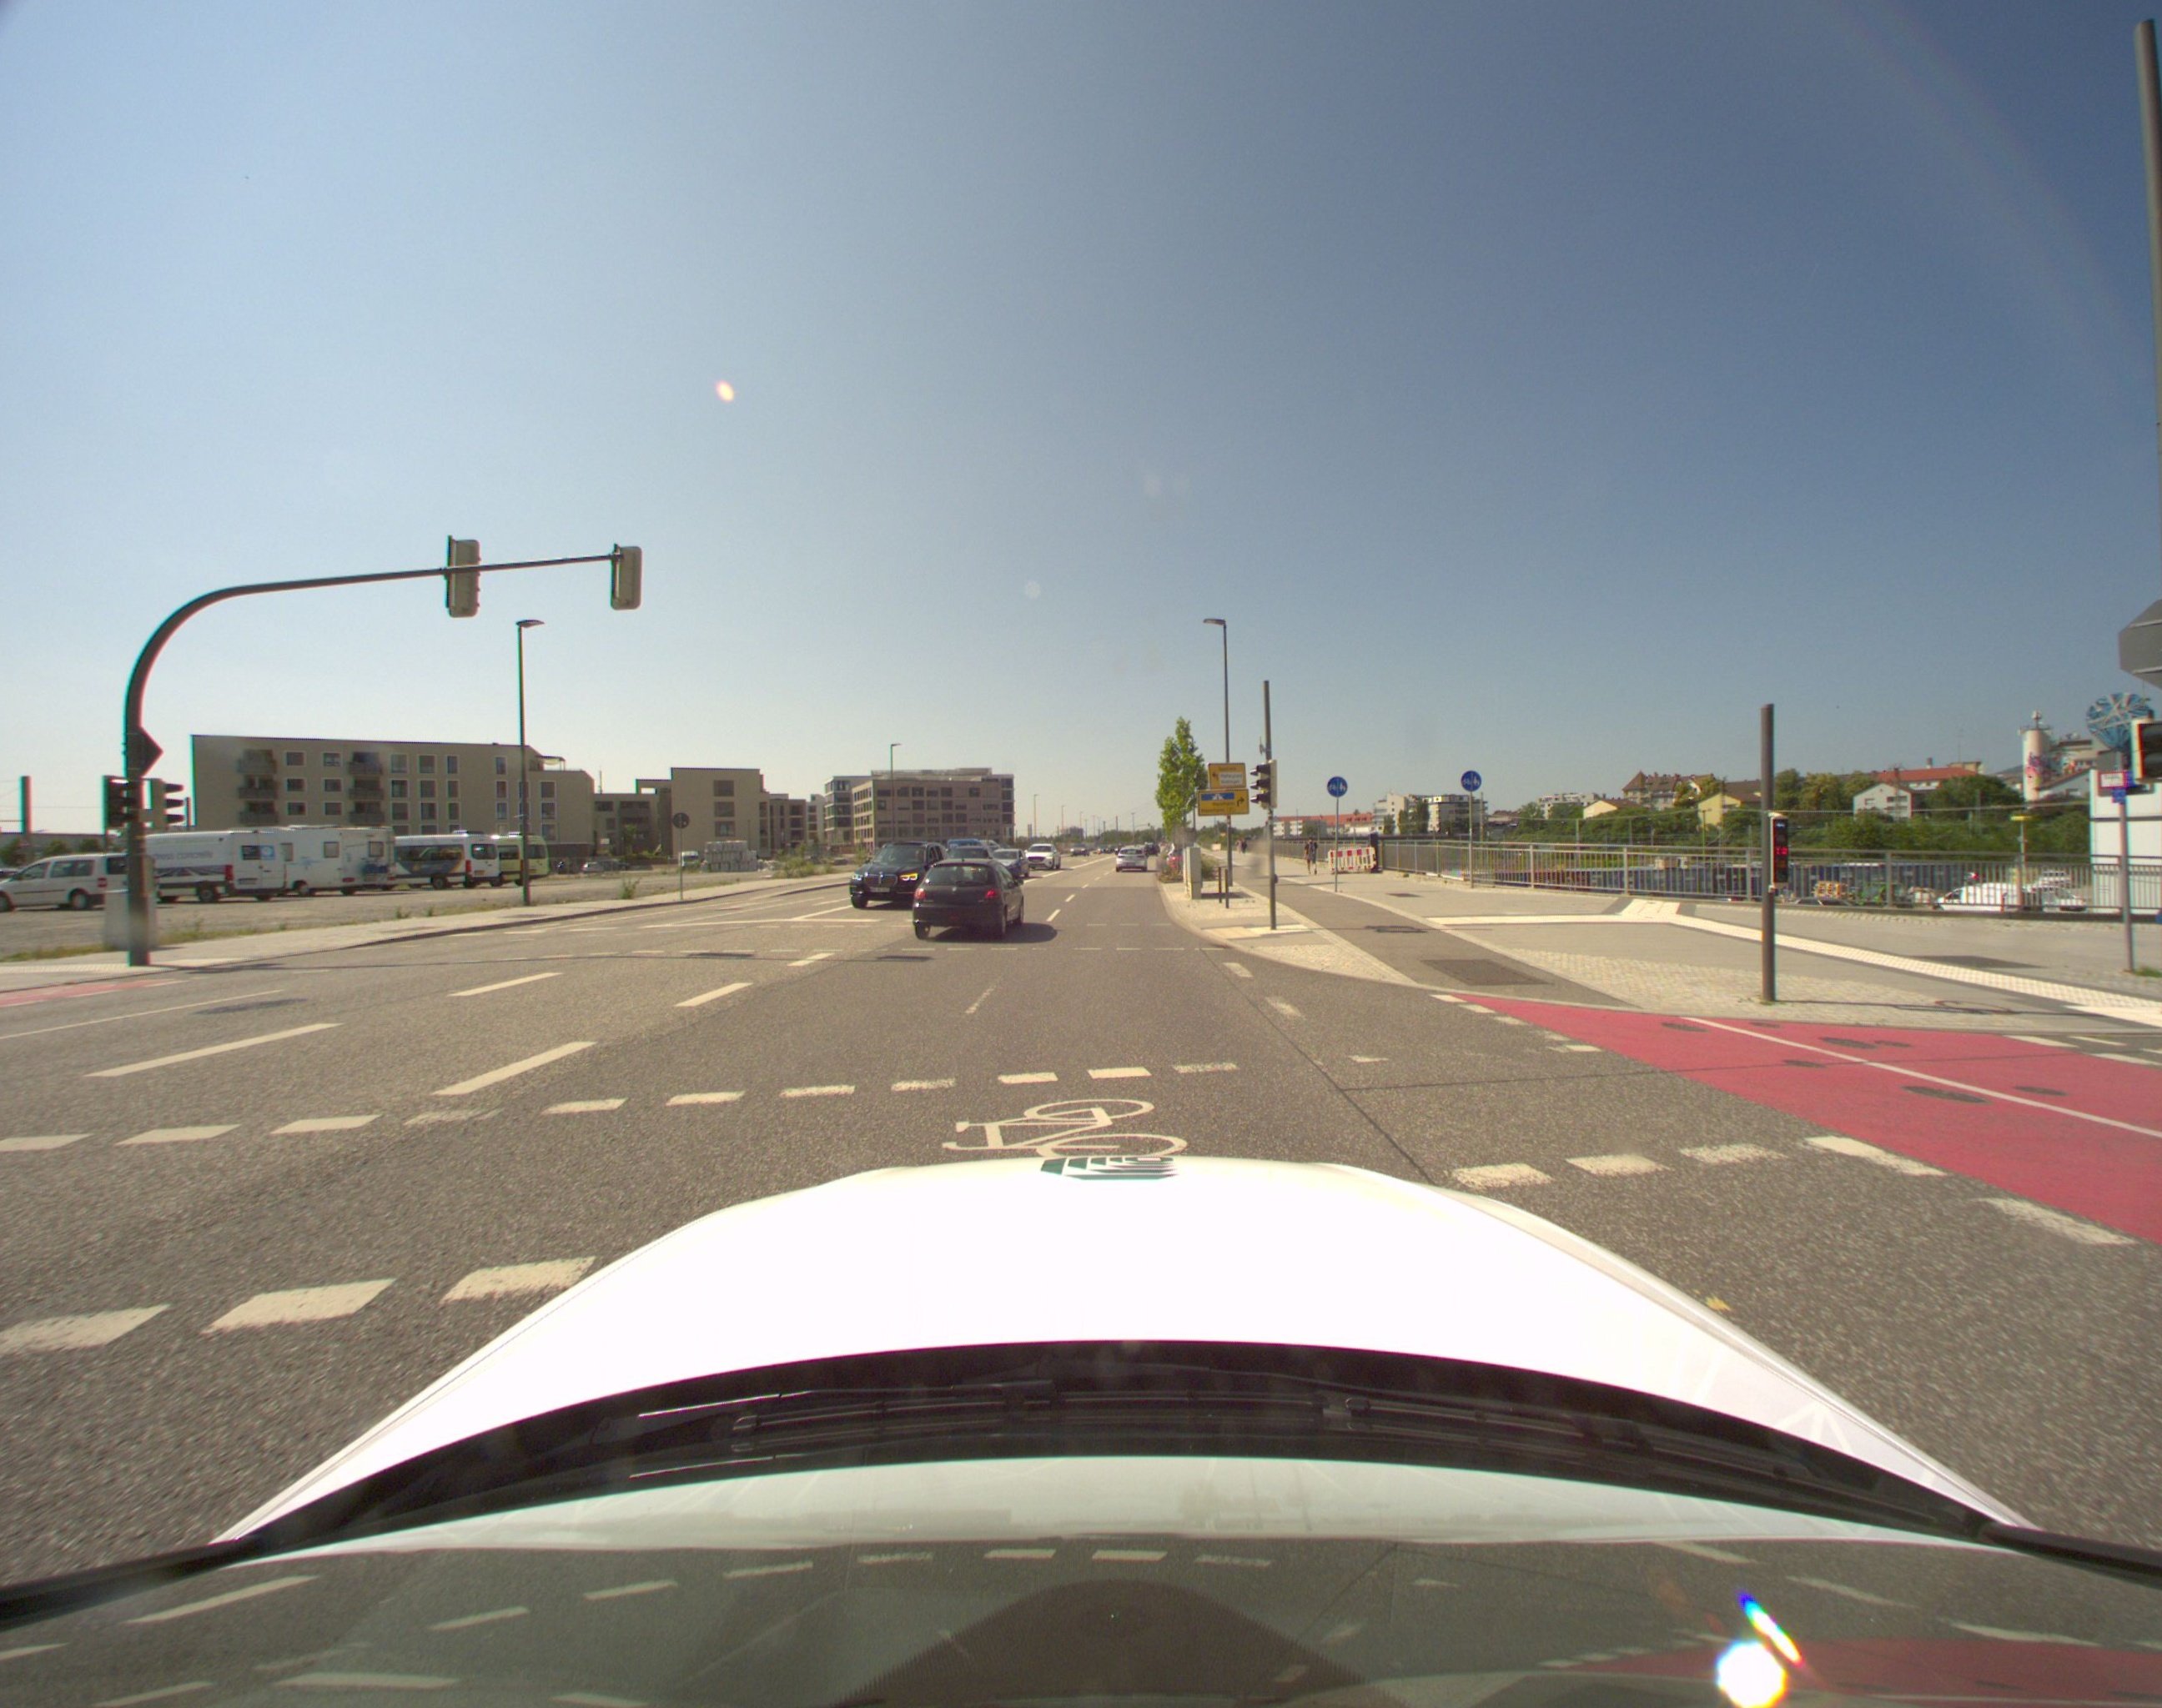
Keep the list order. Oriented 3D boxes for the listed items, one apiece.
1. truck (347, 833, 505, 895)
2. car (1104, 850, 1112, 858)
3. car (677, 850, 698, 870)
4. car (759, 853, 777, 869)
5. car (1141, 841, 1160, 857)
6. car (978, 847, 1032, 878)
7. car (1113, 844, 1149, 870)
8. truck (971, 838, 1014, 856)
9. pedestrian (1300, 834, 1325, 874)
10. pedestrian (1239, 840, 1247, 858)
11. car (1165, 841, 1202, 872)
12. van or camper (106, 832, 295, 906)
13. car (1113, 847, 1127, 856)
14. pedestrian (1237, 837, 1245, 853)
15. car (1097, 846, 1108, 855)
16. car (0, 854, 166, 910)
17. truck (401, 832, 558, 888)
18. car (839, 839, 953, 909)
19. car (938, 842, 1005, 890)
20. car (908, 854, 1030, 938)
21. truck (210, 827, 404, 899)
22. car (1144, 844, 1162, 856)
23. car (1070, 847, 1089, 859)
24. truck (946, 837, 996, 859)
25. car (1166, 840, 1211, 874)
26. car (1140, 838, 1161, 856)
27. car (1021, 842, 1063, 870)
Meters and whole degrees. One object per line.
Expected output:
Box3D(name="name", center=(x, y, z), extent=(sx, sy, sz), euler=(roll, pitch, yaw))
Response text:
Box3D(name="truck", center=(-31.822, 0.471, 39.691), extent=(5.804, 2.824, 2.575), euler=(1, -1, 6))
Box3D(name="car", center=(5.219, 0.072, 157.449), extent=(1.573, 1.563, 3.675), euler=(0, -1, 2))
Box3D(name="car", center=(-47.089, 0.659, 97.373), extent=(2.006, 2.240, 3.963), euler=(-1, 1, -29))
Box3D(name="car", center=(-39.057, 0.857, 101.624), extent=(2.002, 1.848, 3.970), euler=(-1, 1, -23))
Box3D(name="car", center=(7.042, -0.517, 82.307), extent=(1.768, 1.569, 4.008), euler=(0, -1, 8))
Box3D(name="car", center=(-3.632, 0.363, 39.745), extent=(1.777, 1.421, 4.289), euler=(-1, 0, 6))
Box3D(name="car", center=(3.026, 0.173, 48.453), extent=(1.768, 1.442, 4.010), euler=(-1, 0, 9))
Box3D(name="truck", center=(-12.201, -0.984, 112.916), extent=(5.541, 2.362, 2.278), euler=(-2, 0, 4))
Box3D(name="pedestrian", center=(9.855, -0.010, 34.704), extent=(0.747, 1.609, 0.951), euler=(-4, 0, 6))
Box3D(name="pedestrian", center=(15.677, -0.466, 78.968), extent=(0.728, 1.705, 0.652), euler=(0, -1, 6))
Box3D(name="car", center=(5.702, 0.099, 45.678), extent=(1.863, 1.627, 4.884), euler=(-1, 0, 5))
Box3D(name="van or camper", center=(-32.942, 0.526, 30.576), extent=(4.875, 2.661, 2.263), euler=(0, 1, 5))
Box3D(name="car", center=(6.195, -0.456, 128.259), extent=(1.777, 1.398, 4.581), euler=(-1, 1, 7))
Box3D(name="pedestrian", center=(17.176, -1.007, 87.662), extent=(0.776, 1.705, 0.743), euler=(-1, 0, 6))
Box3D(name="car", center=(3.525, -0.503, 133.806), extent=(1.787, 1.416, 4.002), euler=(0, -1, 2))
Box3D(name="car", center=(-33.087, 0.895, 26.902), extent=(3.850, 1.758, 1.658), euler=(0, 1, 2))
Box3D(name="truck", center=(-31.783, 0.335, 43.156), extent=(6.602, 2.825, 2.607), euler=(-1, 0, 6))
Box3D(name="car", center=(-5.115, 0.478, 23.237), extent=(1.931, 1.788, 4.660), euler=(0, 1, 4))
Box3D(name="car", center=(-4.152, 0.416, 31.586), extent=(1.771, 1.682, 4.103), euler=(-1, 1, 4))
Box3D(name="car", center=(-2.055, 0.727, 15.915), extent=(1.612, 1.416, 3.731), euler=(-1, 0, 4))
Box3D(name="truck", center=(-33.017, 0.367, 34.857), extent=(6.113, 2.901, 2.575), euler=(1, -1, 6))
Box3D(name="car", center=(8.402, -0.476, 95.830), extent=(1.628, 1.310, 3.996), euler=(0, -1, -3))
Box3D(name="car", center=(-0.167, -0.131, 98.665), extent=(1.884, 1.415, 3.604), euler=(0, -1, 6))
Box3D(name="truck", center=(-14.226, -0.774, 105.648), extent=(5.977, 2.543, 2.278), euler=(-2, 0, 4))
Box3D(name="car", center=(5.089, 0.136, 38.895), extent=(1.983, 1.519, 4.007), euler=(-1, 0, 6))
Box3D(name="car", center=(7.041, -0.673, 82.522), extent=(1.788, 1.750, 3.999), euler=(-1, 0, -1))
Box3D(name="car", center=(-2.415, 0.105, 51.738), extent=(1.903, 1.649, 4.739), euler=(-1, 0, 6))
